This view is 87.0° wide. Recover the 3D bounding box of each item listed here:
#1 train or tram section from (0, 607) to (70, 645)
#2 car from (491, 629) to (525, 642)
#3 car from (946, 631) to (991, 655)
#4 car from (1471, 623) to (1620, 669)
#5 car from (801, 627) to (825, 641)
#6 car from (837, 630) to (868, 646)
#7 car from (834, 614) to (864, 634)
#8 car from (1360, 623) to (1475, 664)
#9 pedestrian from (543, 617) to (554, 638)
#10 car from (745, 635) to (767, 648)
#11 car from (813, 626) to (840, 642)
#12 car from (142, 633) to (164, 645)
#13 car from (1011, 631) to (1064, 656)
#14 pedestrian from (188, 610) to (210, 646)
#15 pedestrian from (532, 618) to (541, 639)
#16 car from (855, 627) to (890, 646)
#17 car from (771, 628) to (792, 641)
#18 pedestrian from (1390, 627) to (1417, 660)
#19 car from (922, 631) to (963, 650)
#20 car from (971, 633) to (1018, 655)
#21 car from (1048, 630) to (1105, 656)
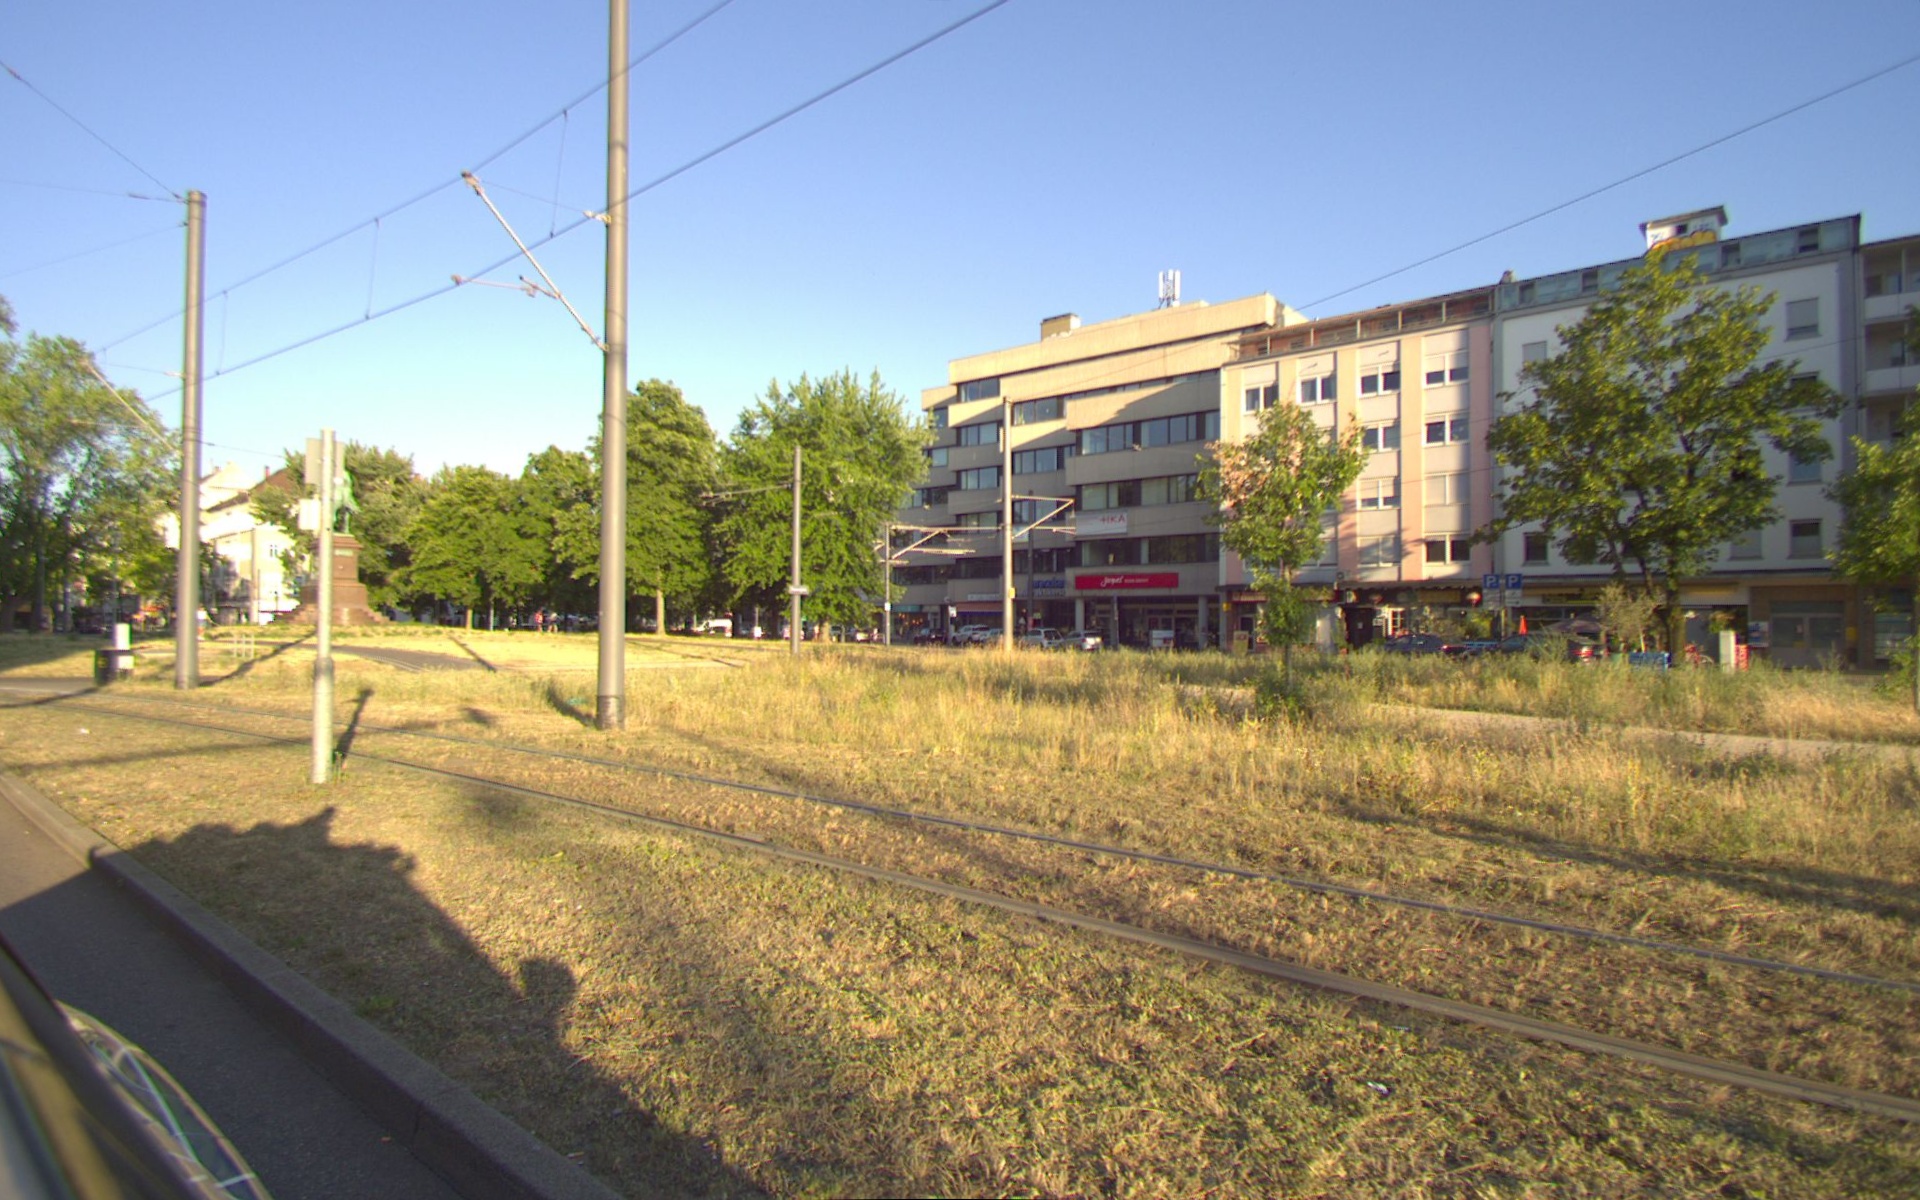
[{"bbox_3d":[-82.519,2.226,87.267,2.878,3.165,12.676,0,-1,-12],"label":"train or tram section"},{"bbox_3d":[-63.366,4.975,141.825,1.857,1.719,3.950,-3,-3,37],"label":"car"},{"bbox_3d":[0.616,3.353,78.709,1.729,1.808,4.222,0,-3,-26],"label":"car"},{"bbox_3d":[20.797,1.634,36.152,1.729,1.538,4.305,0,-3,-26],"label":"car"},{"bbox_3d":[-17.083,3.978,117.250,1.766,1.592,4.013,0,-3,-23],"label":"car"},{"bbox_3d":[-10.064,3.561,94.541,1.681,1.401,4.013,0,-3,-25],"label":"car"},{"bbox_3d":[-11.538,2.511,104.676,1.729,1.959,4.222,0,-3,-26],"label":"car"},{"bbox_3d":[18.404,1.757,40.881,1.729,1.538,4.013,0,-3,-26],"label":"car"},{"bbox_3d":[-31.146,2.087,76.653,0.553,1.593,0.611,-3,-4,43],"label":"pedestrian"},{"bbox_3d":[-26.483,5.392,131.222,1.833,1.568,4.081,0,-3,-26],"label":"car"},{"bbox_3d":[-14.758,3.745,112.046,1.729,1.676,4.013,0,-3,-26],"label":"car"},{"bbox_3d":[-109.624,5.303,137.517,3.966,1.564,1.700,-3,-3,42],"label":"car"},{"bbox_3d":[5.172,2.942,68.263,1.729,1.564,4.013,0,-3,-26],"label":"car"},{"bbox_3d":[-36.651,1.368,48.735,0.831,1.703,0.472,-1,-3,27],"label":"pedestrian"},{"bbox_3d":[-31.906,2.138,76.291,0.553,1.524,0.447,-3,-4,43],"label":"pedestrian"},{"bbox_3d":[-8.569,3.586,98.884,1.906,1.808,4.222,0,-3,-26],"label":"car"},{"bbox_3d":[-22.647,4.385,128.221,1.766,1.592,4.013,0,-3,-23],"label":"car"},{"bbox_3d":[20.616,2.024,46.995,0.852,1.540,1.107,-3,-3,39],"label":"pedestrian"},{"bbox_3d":[-1.511,3.426,84.755,1.833,1.568,4.081,0,-3,-26],"label":"car"},{"bbox_3d":[2.472,3.228,73.785,1.729,1.564,4.013,0,-3,-26],"label":"car"},{"bbox_3d":[7.273,2.703,63.625,1.729,1.564,4.013,0,-3,-23],"label":"car"}]
